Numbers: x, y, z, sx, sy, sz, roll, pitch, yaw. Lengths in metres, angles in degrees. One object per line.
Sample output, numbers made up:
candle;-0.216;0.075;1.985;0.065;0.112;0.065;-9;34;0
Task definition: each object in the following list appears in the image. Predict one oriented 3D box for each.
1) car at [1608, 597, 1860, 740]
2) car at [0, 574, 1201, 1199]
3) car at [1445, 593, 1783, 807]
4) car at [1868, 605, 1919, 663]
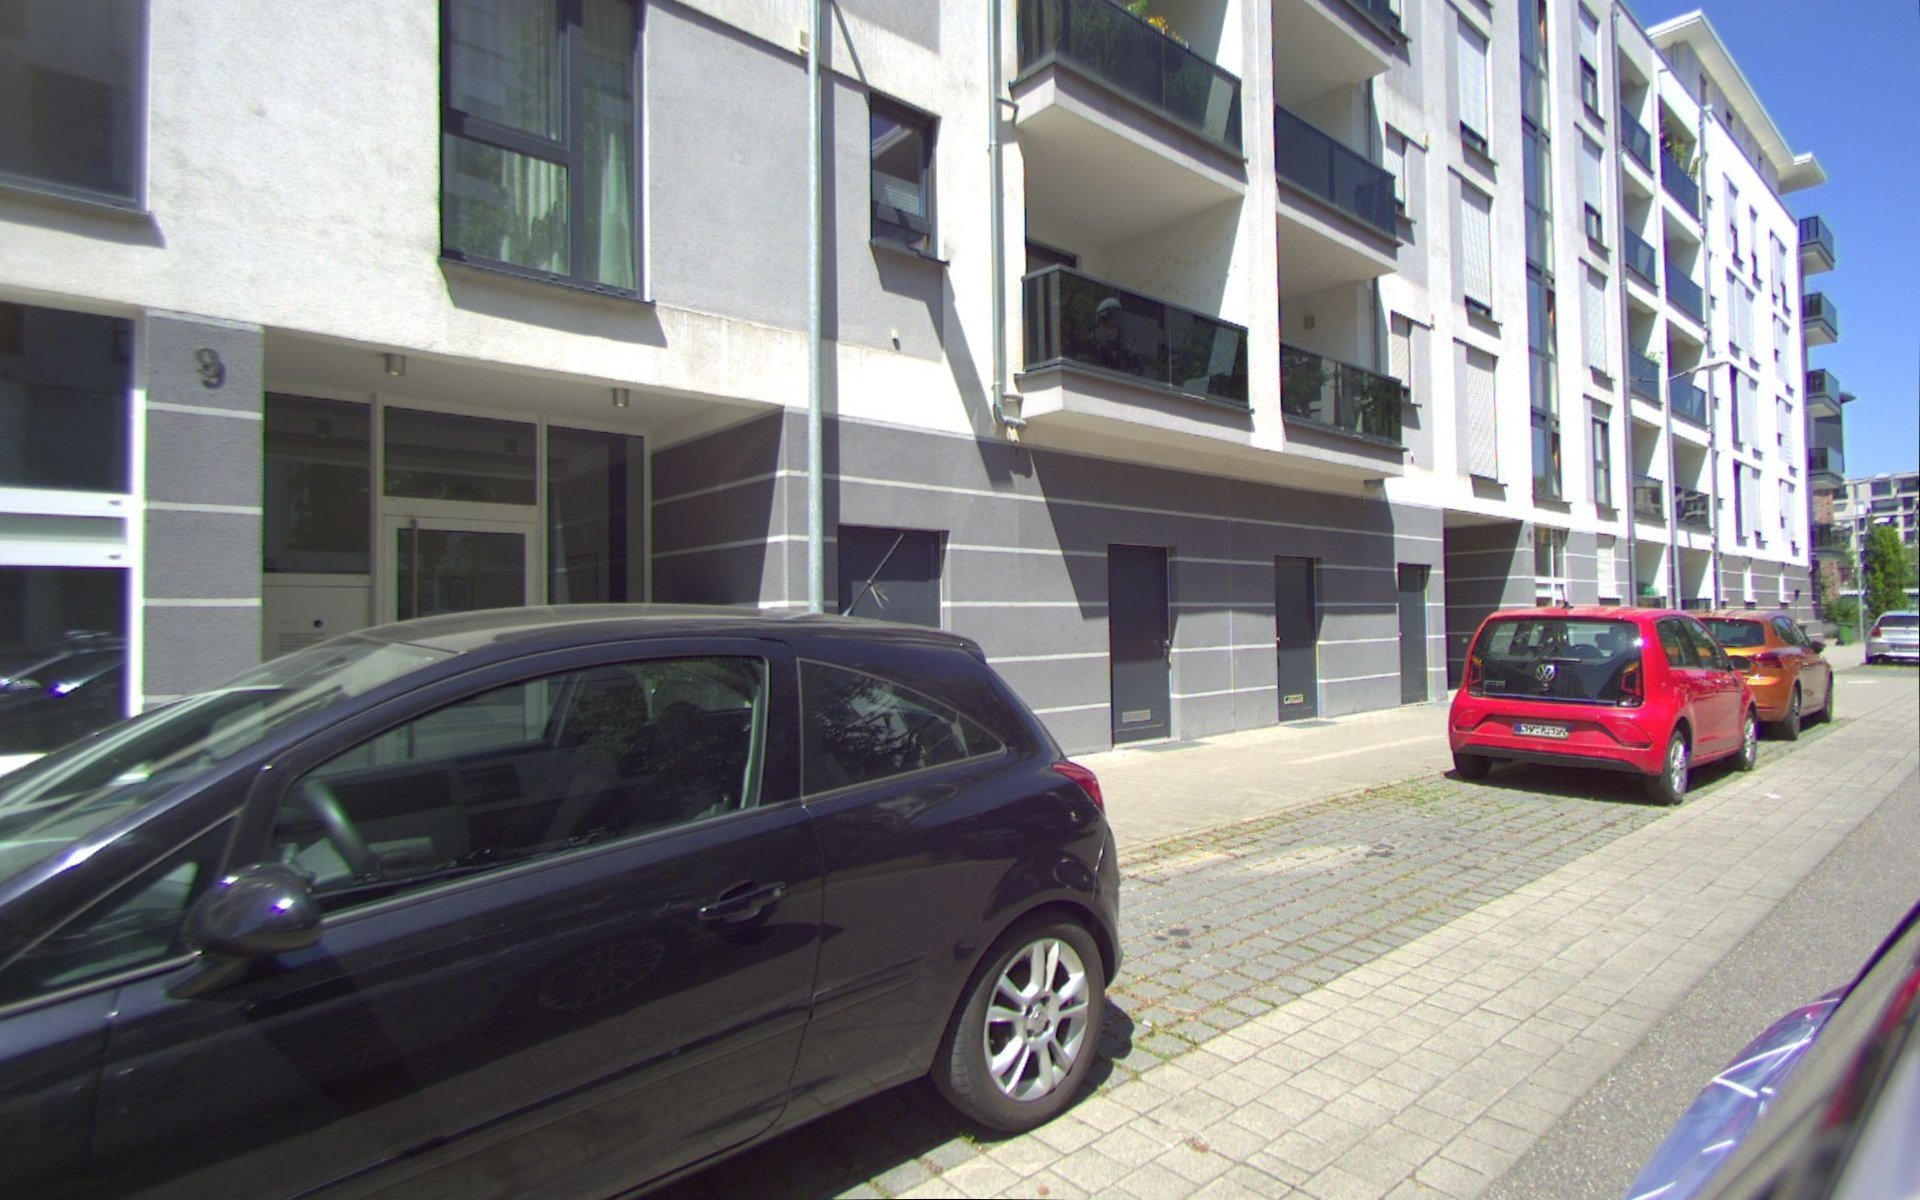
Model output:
car;9.827;0.731;12.733;4.184;1.506;1.740;0;0;-41
car;-1.261;0.702;2.561;4.046;1.481;1.645;0;0;-42
car;5.893;0.713;8.964;3.611;1.504;1.598;0;0;-41
car;25.423;0.847;26.498;4.348;1.434;1.848;0;-2;-41
